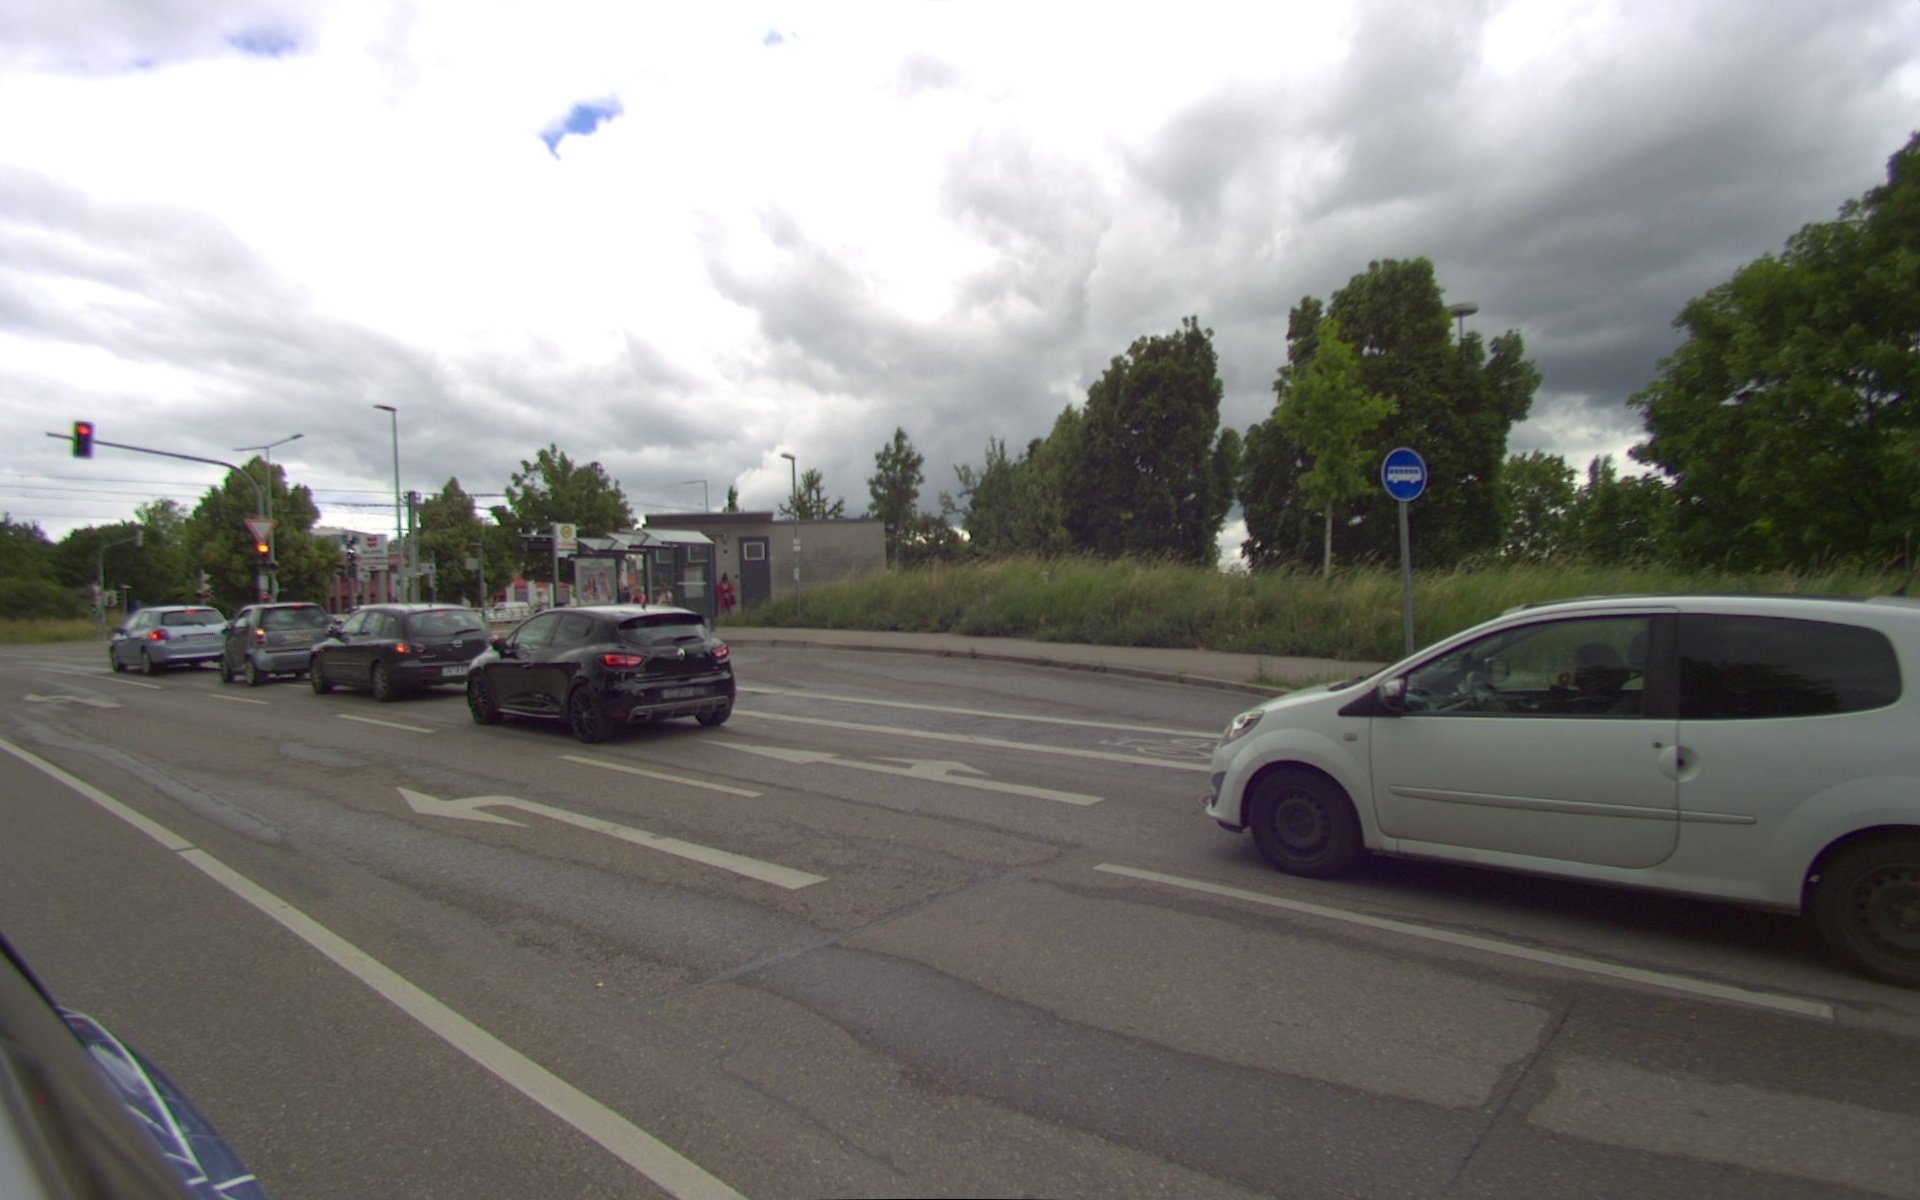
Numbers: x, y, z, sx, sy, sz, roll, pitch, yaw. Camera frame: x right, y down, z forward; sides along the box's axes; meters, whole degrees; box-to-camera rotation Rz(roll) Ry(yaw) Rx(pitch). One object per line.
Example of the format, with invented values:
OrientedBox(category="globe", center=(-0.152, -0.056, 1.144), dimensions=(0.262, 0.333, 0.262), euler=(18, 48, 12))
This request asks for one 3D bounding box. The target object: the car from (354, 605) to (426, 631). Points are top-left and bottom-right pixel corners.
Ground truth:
OrientedBox(category="car", center=(-44.271, 1.422, 78.669), dimensions=(2.174, 1.920, 4.412), euler=(-2, -3, 27))

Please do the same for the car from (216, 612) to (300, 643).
OrientedBox(category="car", center=(-46.185, 1.785, 66.643), dimensions=(1.809, 1.793, 4.176), euler=(-2, 0, 32))

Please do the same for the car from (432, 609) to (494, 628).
OrientedBox(category="car", center=(-39.476, 1.478, 80.512), dimensions=(1.807, 1.351, 4.180), euler=(-2, -3, 29))

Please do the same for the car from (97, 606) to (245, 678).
OrientedBox(category="car", center=(-18.842, 0.968, 24.114), dimensions=(4.214, 1.547, 1.810), euler=(-2, 0, 38))

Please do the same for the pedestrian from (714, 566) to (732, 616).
OrientedBox(category="pedestrian", center=(-8.172, -0.313, 34.892), dimensions=(0.541, 1.682, 0.430), euler=(-2, 0, -12))

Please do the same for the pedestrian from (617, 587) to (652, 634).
OrientedBox(category="pedestrian", center=(-9.584, 0.300, 29.819), dimensions=(0.549, 1.340, 0.765), euler=(-2, 0, 33))

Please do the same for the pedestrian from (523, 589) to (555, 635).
OrientedBox(category="pedestrian", center=(-13.136, 0.376, 31.563), dimensions=(0.772, 1.374, 0.544), euler=(-2, 0, 34))

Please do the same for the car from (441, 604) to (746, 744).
OrientedBox(category="car", center=(-4.405, 0.767, 11.848), dimensions=(4.059, 1.342, 1.622), euler=(-2, 0, 42))

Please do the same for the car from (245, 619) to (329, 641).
OrientedBox(category="car", center=(-43.875, 1.981, 66.041), dimensions=(1.807, 1.351, 4.179), euler=(-2, -3, 30))

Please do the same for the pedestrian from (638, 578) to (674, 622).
OrientedBox(category="pedestrian", center=(-8.691, 0.004, 28.950), dimensions=(0.549, 1.236, 0.765), euler=(-2, 0, 33))

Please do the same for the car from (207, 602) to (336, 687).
OrientedBox(category="car", center=(-13.724, 0.856, 20.140), dimensions=(2.773, 1.538, 1.414), euler=(-2, 0, 40))

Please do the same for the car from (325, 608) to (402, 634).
OrientedBox(category="car", center=(-43.623, 1.525, 74.121), dimensions=(1.806, 1.806, 4.652), euler=(-2, -1, 28))

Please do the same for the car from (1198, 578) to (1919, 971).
OrientedBox(category="car", center=(3.243, 0.631, 4.857), dimensions=(3.761, 1.401, 1.622), euler=(-2, 0, 42))

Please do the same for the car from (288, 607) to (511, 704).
OrientedBox(category="car", center=(-9.222, 0.840, 16.499), dimensions=(4.377, 1.342, 1.781), euler=(-2, 0, 41))
